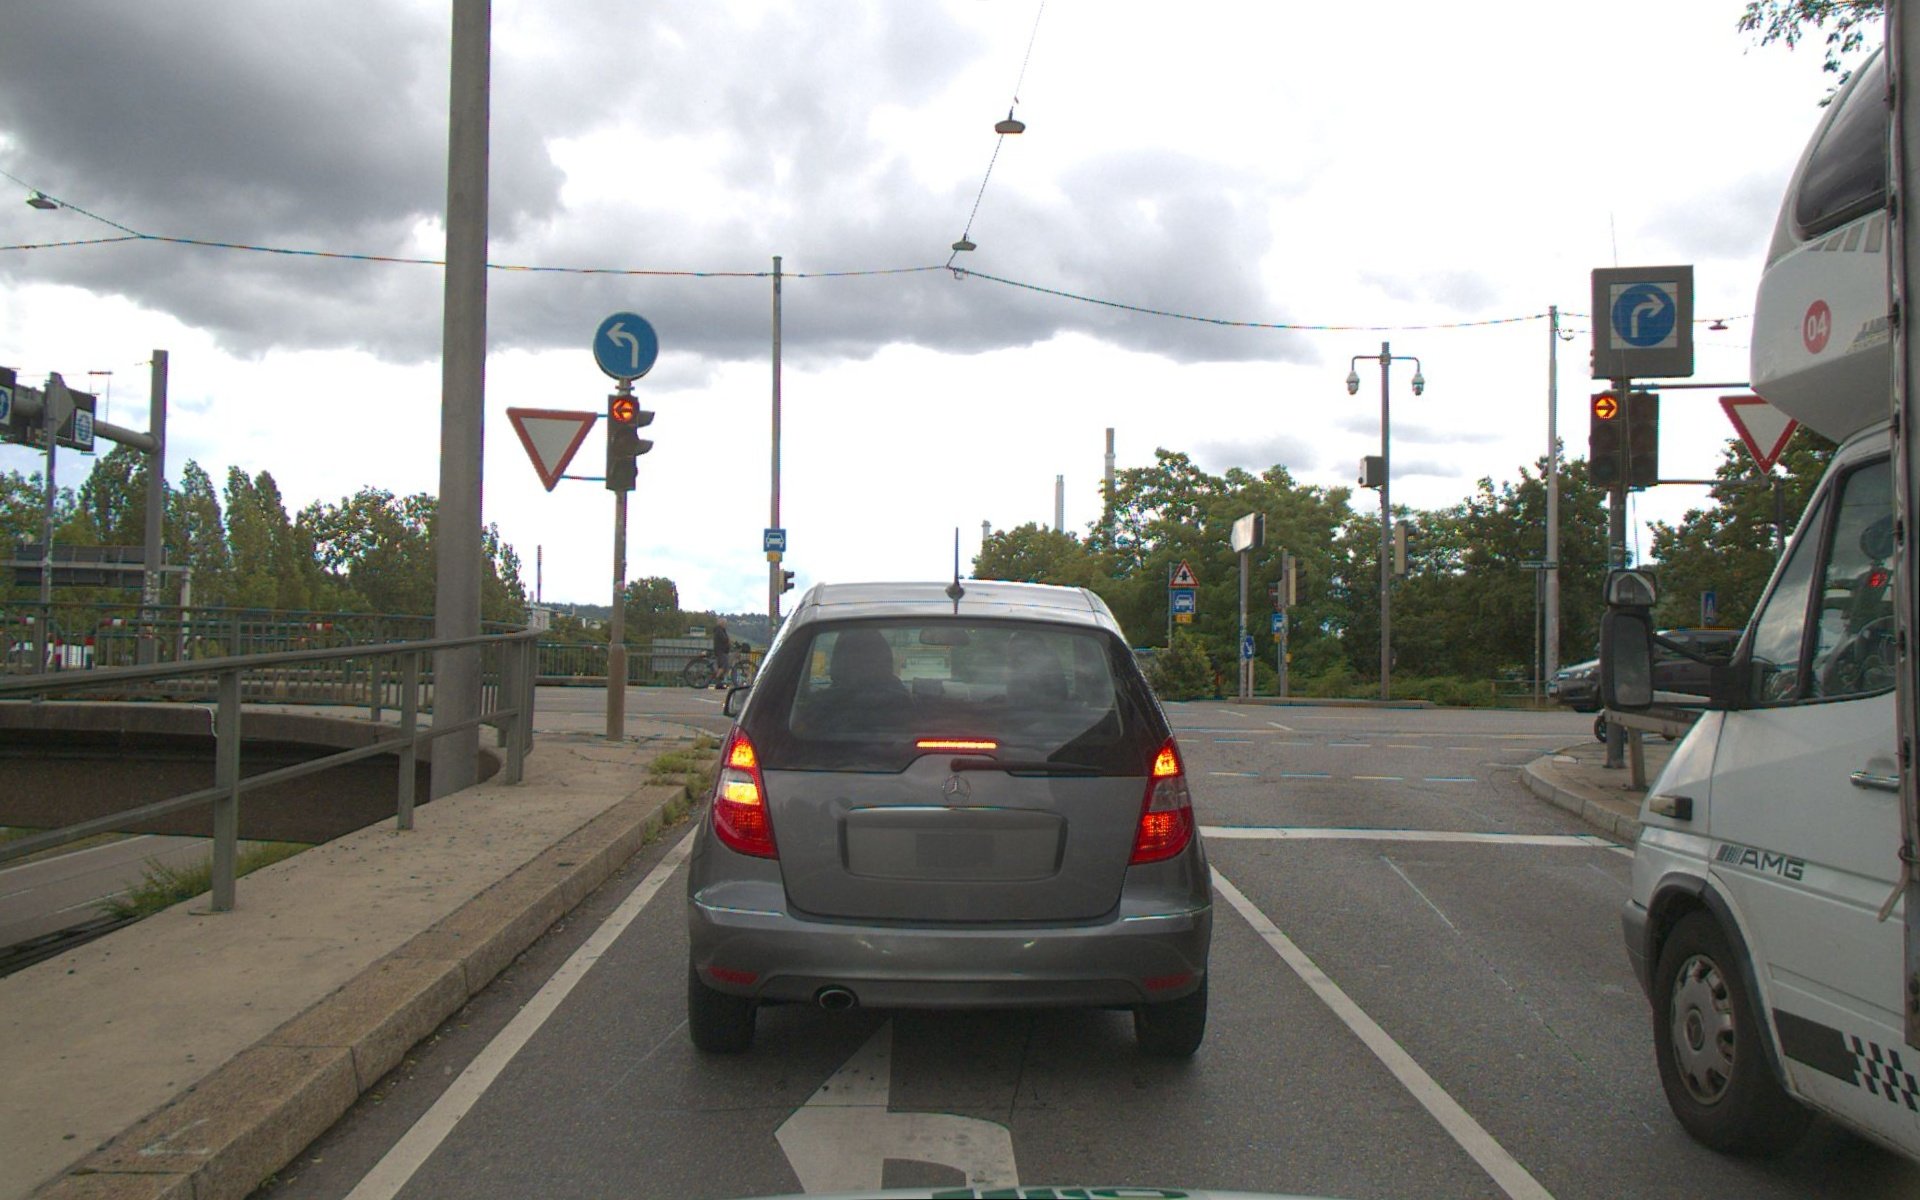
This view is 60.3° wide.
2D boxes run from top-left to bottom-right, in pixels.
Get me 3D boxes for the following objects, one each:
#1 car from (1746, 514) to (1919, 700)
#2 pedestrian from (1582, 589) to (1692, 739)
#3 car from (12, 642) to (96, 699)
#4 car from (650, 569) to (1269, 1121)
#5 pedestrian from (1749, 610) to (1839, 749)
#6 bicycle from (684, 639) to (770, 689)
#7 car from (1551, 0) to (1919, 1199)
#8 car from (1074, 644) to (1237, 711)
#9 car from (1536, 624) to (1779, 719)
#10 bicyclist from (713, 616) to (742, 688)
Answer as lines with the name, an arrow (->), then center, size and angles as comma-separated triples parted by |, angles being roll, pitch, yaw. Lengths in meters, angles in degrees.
car -> 16.987, -0.054, 28.220 | 6.656, 2.831, 2.106 | -5, -2, -18
pedestrian -> 7.886, 0.750, 19.311 | 0.816, 1.707, 0.978 | 0, -3, -4
car -> -38.967, 3.000, 71.241 | 1.819, 2.254, 3.659 | 0, 0, -5
car -> 0.043, 0.693, 6.880 | 1.819, 1.616, 4.001 | 0, 1, 1
pedestrian -> 10.180, 0.949, 20.186 | 0.670, 1.647, 0.774 | 0, 0, -38
bicycle -> -5.637, 1.535, 39.933 | 1.996, 1.144, 0.927 | 0, 0, -12
car -> 3.124, -0.009, 1.465 | 2.604, 3.388, 7.089 | 1, 0, -1
car -> 6.053, 2.369, 51.826 | 1.986, 1.802, 5.164 | 0, 1, -40
car -> 13.250, 1.332, 31.589 | 3.903, 1.694, 1.814 | 0, 0, 4
bicyclist -> -5.624, 1.244, 39.946 | 0.641, 1.703, 0.867 | 0, 0, -11
